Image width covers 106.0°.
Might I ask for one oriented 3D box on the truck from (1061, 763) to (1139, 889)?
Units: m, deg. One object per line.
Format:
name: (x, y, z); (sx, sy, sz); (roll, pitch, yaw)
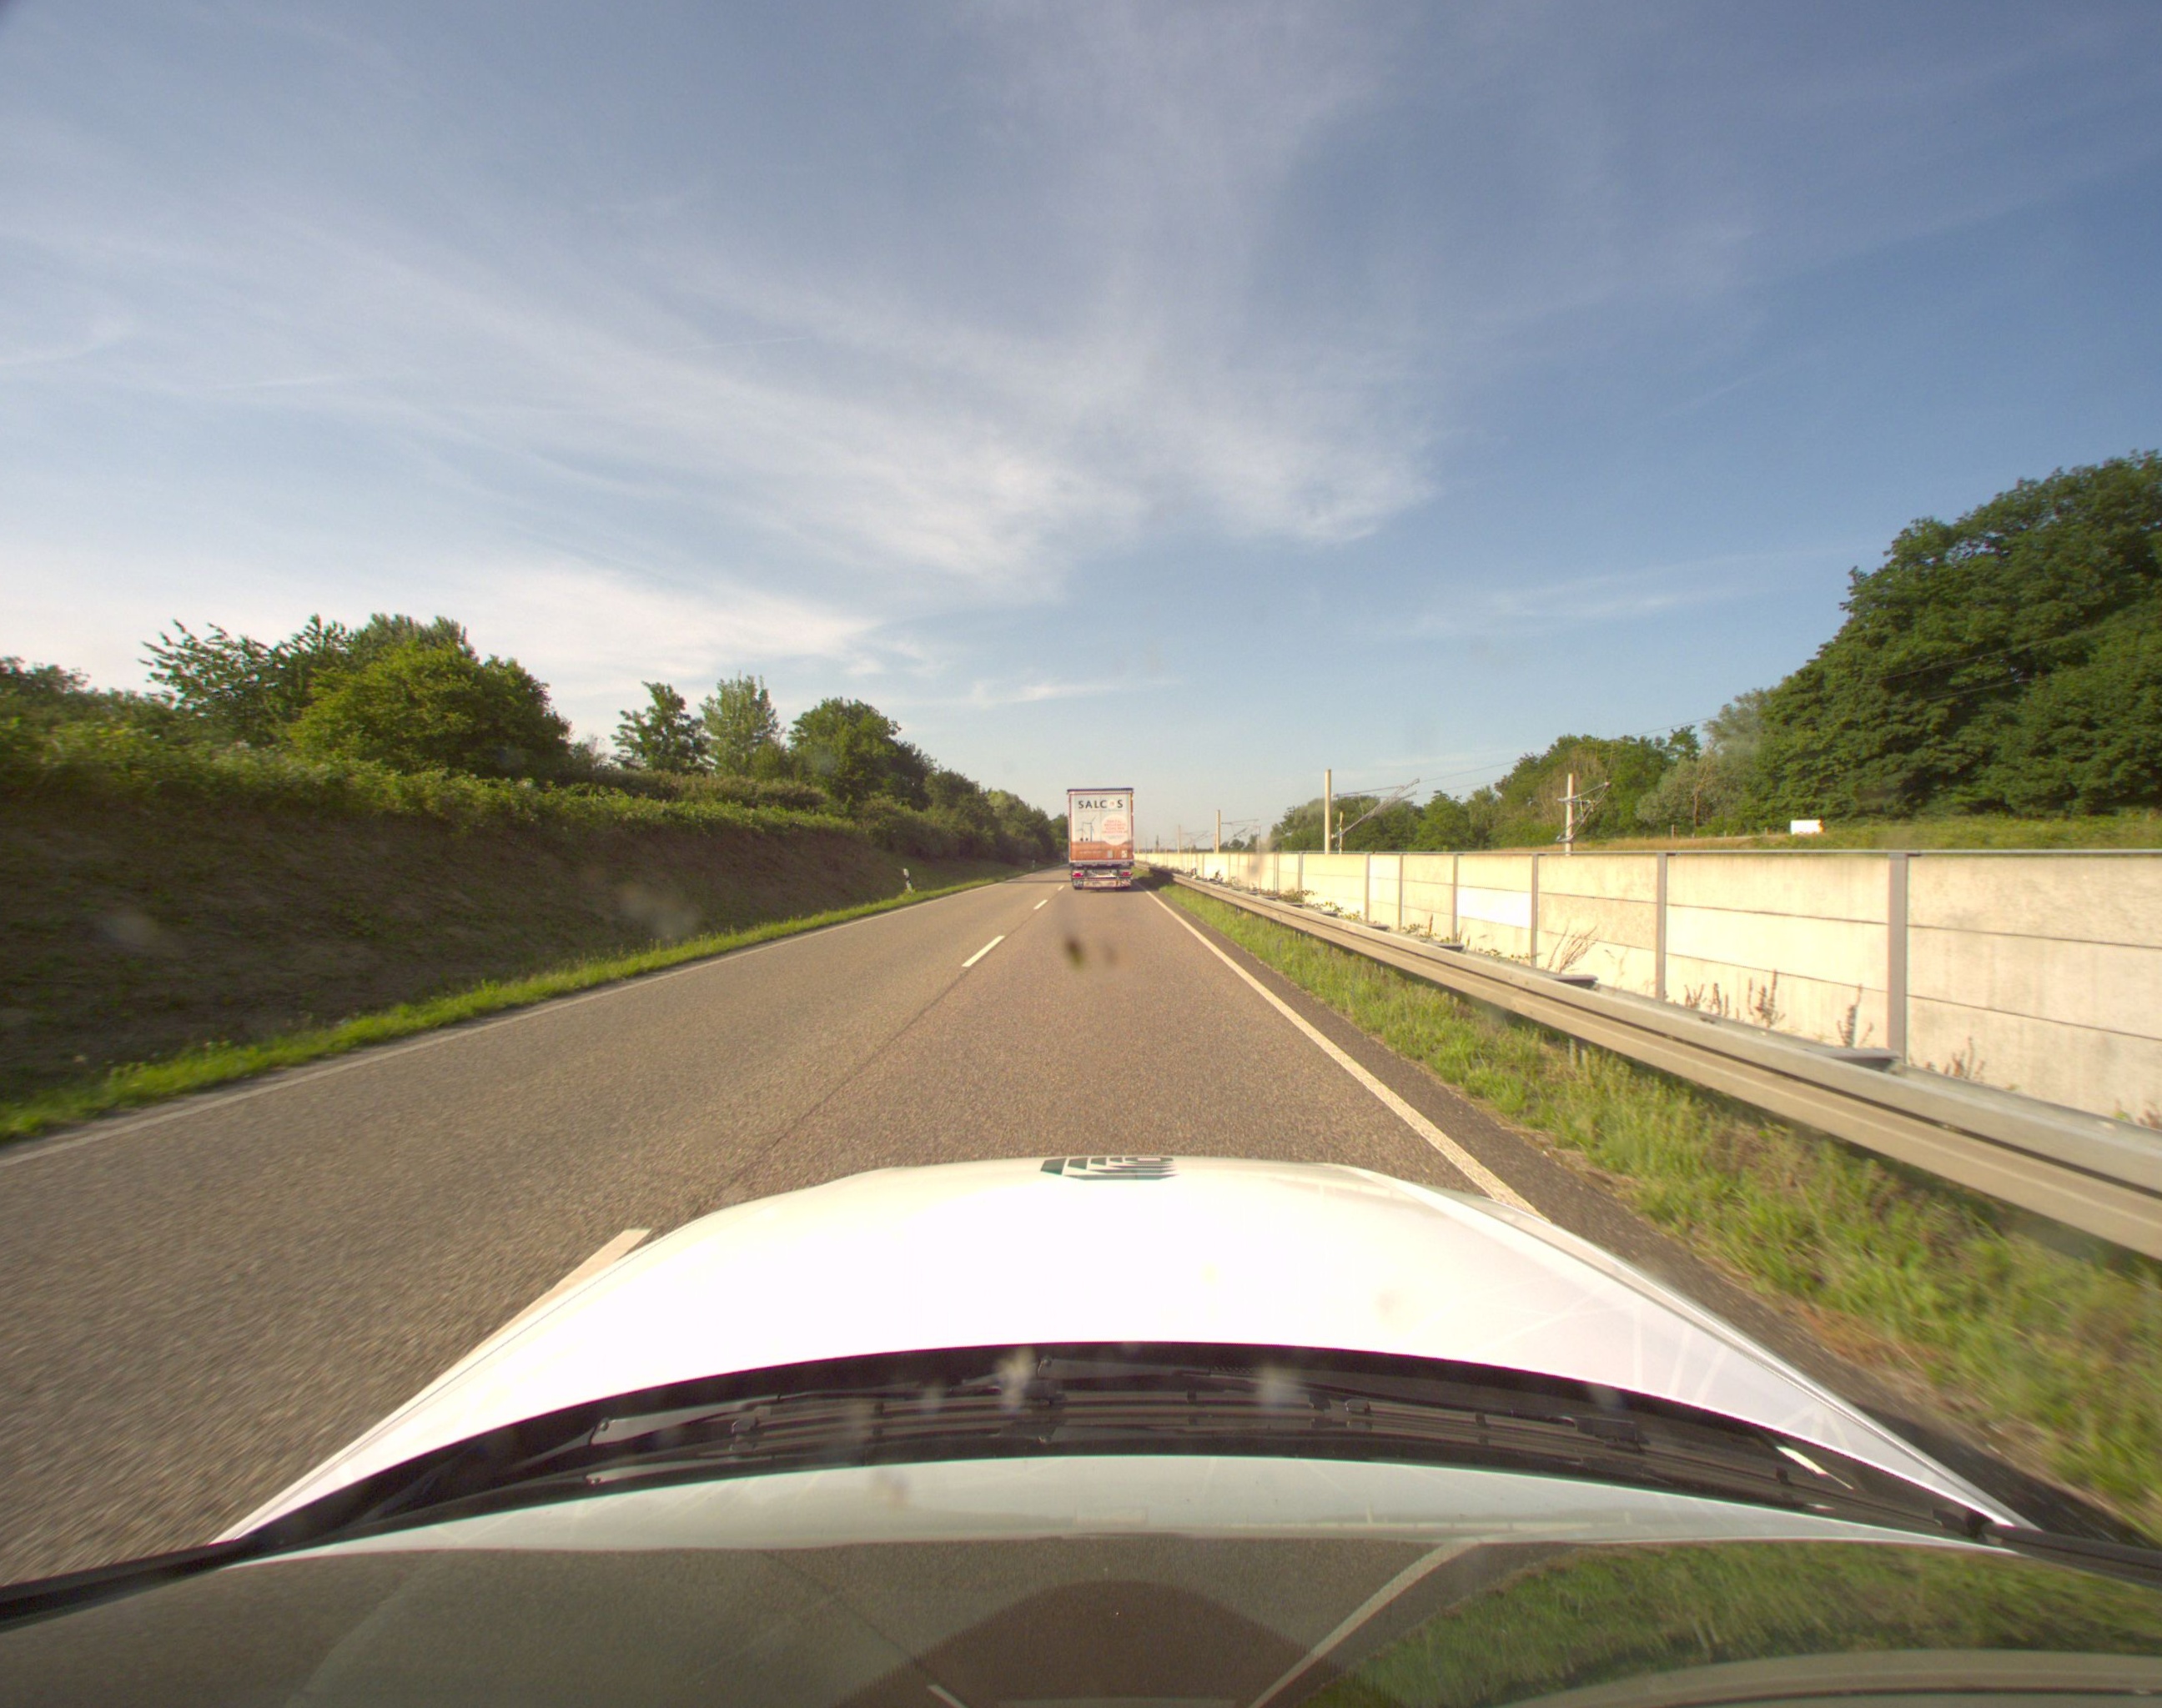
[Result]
truck: (0.791, -1.105, 37.717); (3.023, 4.920, 11.684); (0, 0, 0)
